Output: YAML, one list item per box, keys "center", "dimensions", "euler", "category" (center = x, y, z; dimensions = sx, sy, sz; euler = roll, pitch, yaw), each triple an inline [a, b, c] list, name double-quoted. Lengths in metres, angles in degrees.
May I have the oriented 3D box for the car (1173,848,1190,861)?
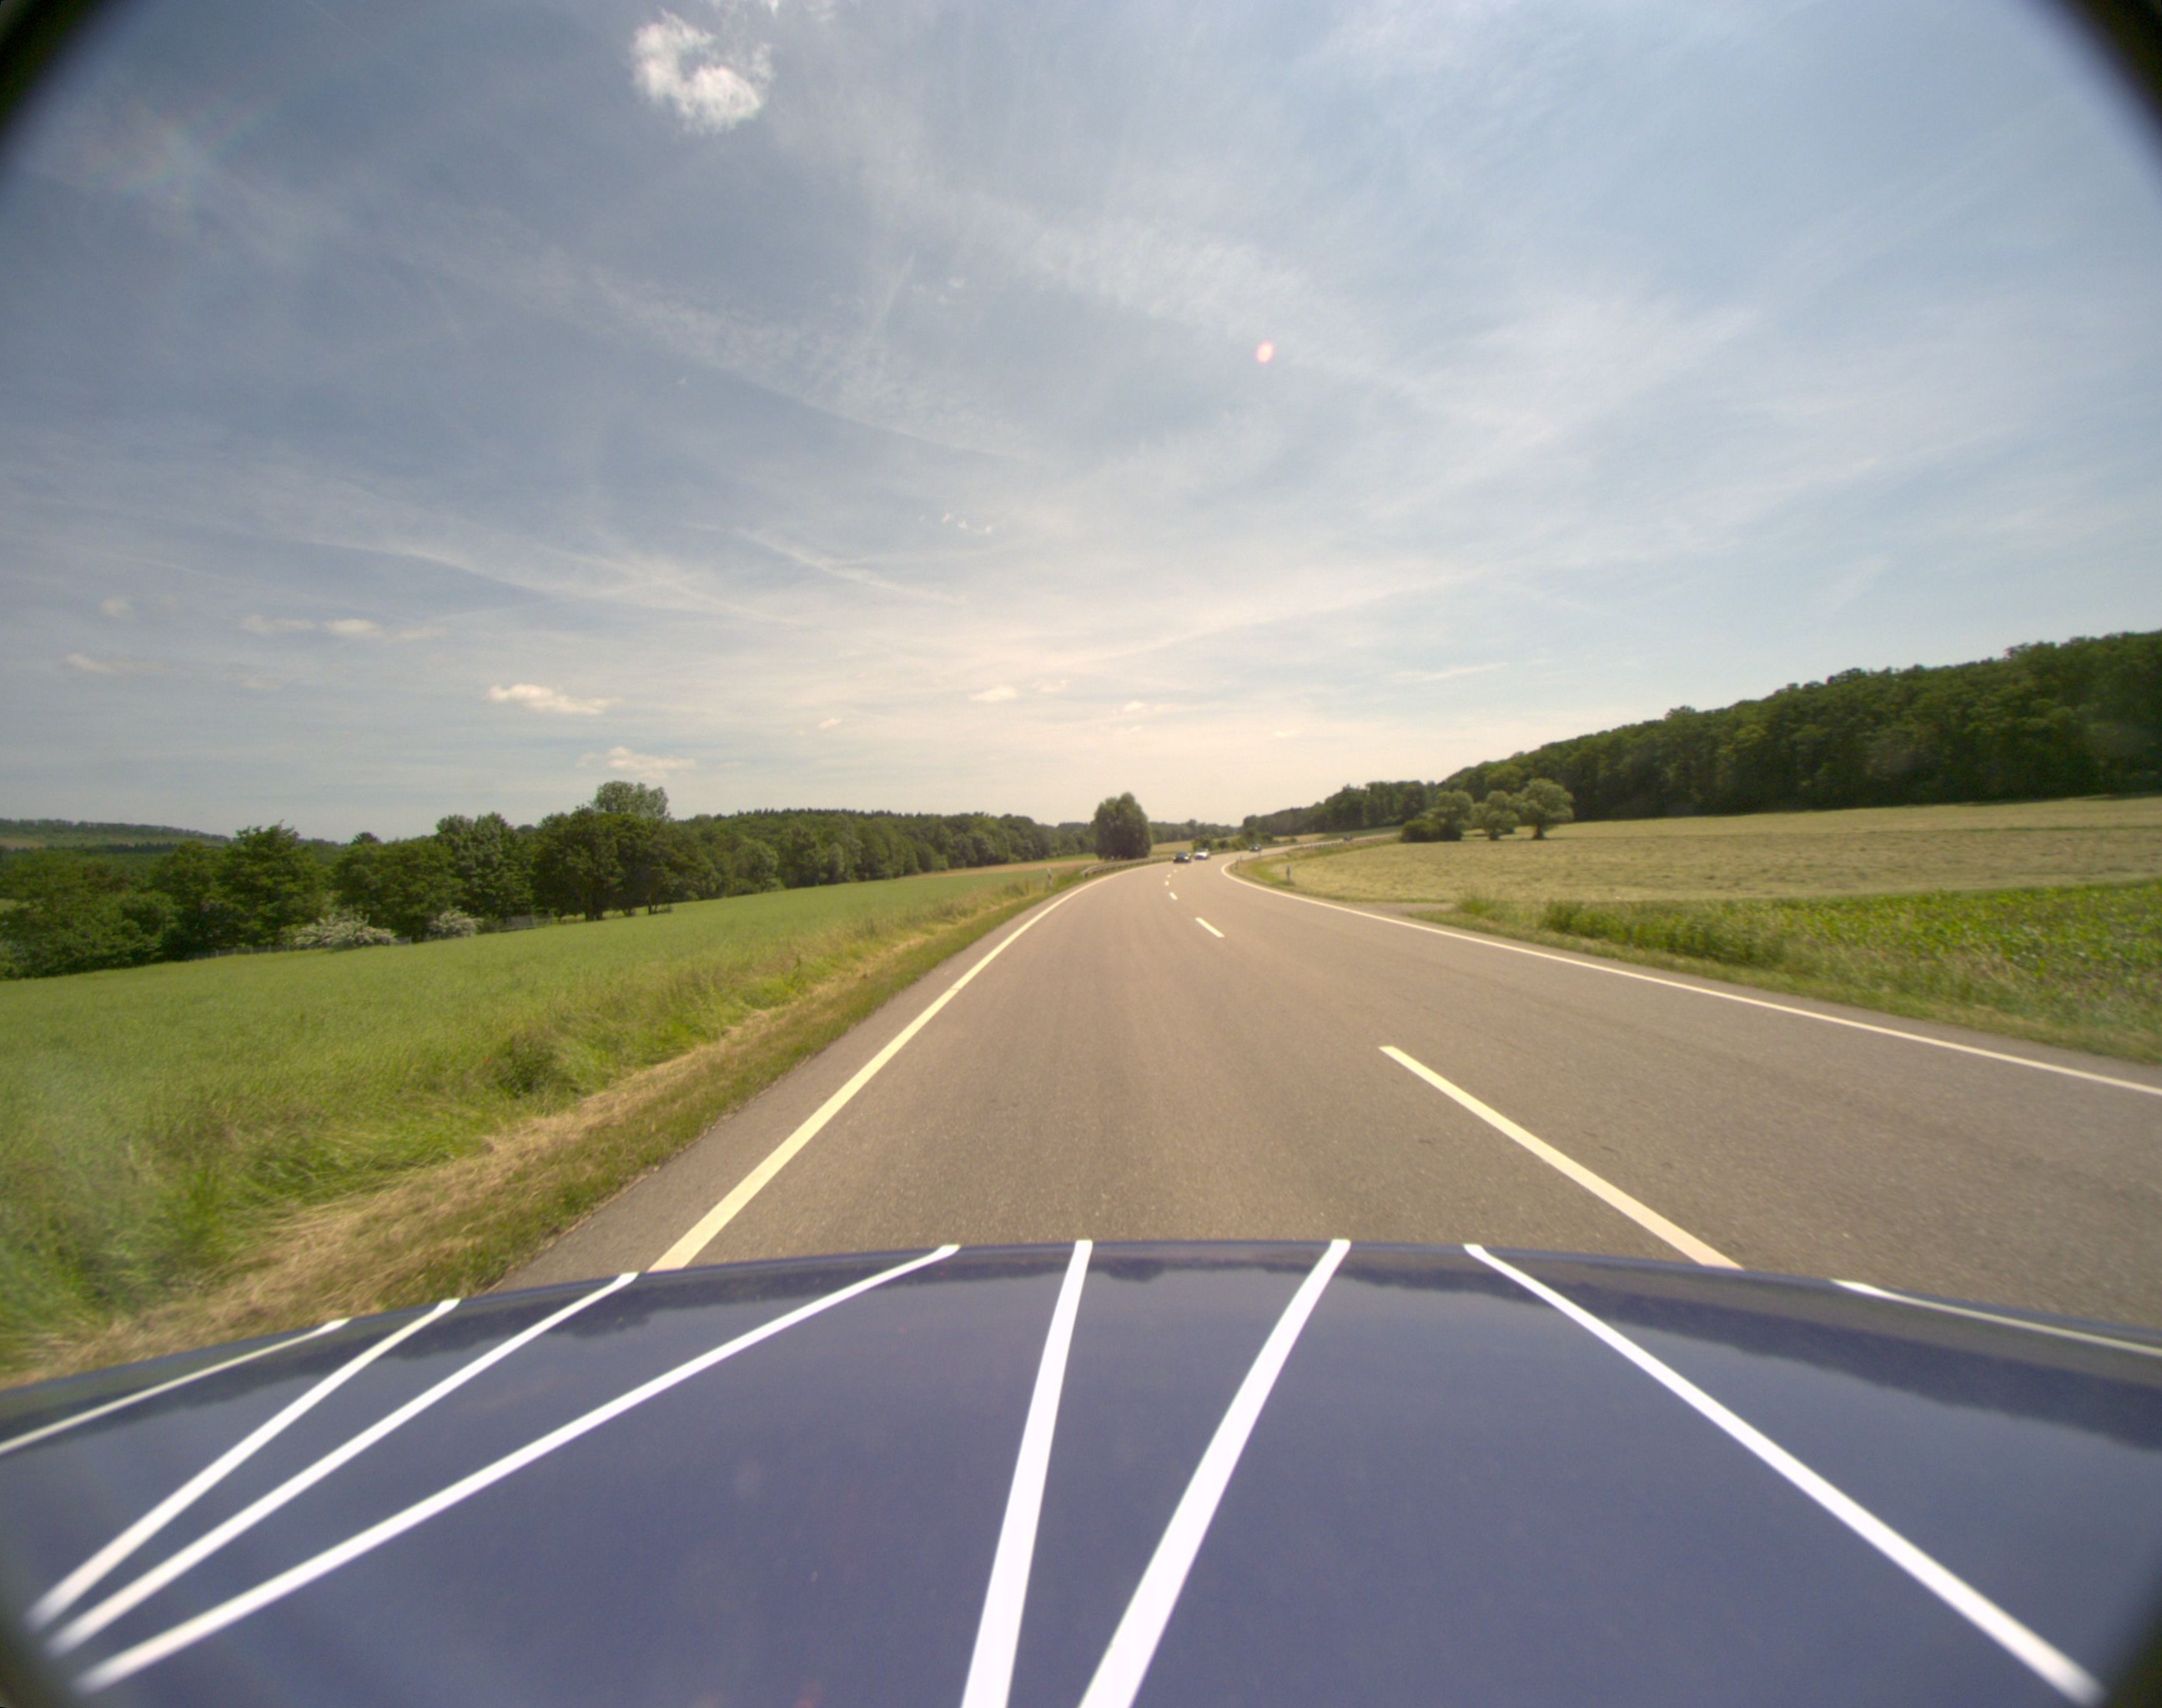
- center: [12.144, 0.001, 91.789]
  dimensions: [1.620, 1.428, 3.446]
  euler: [-2, 1, 13]
  category: "car"

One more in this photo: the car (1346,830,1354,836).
- center: [78.284, -6.183, 221.089]
  dimensions: [1.618, 1.429, 3.448]
  euler: [-1, 3, 33]
  category: "car"

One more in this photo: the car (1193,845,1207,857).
- center: [17.163, -0.421, 109.409]
  dimensions: [1.620, 1.428, 3.445]
  euler: [-2, 2, 14]
  category: "car"

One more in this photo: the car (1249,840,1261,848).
- center: [34.648, -2.050, 151.313]
  dimensions: [1.619, 1.429, 3.447]
  euler: [-2, 2, 25]
  category: "car"
